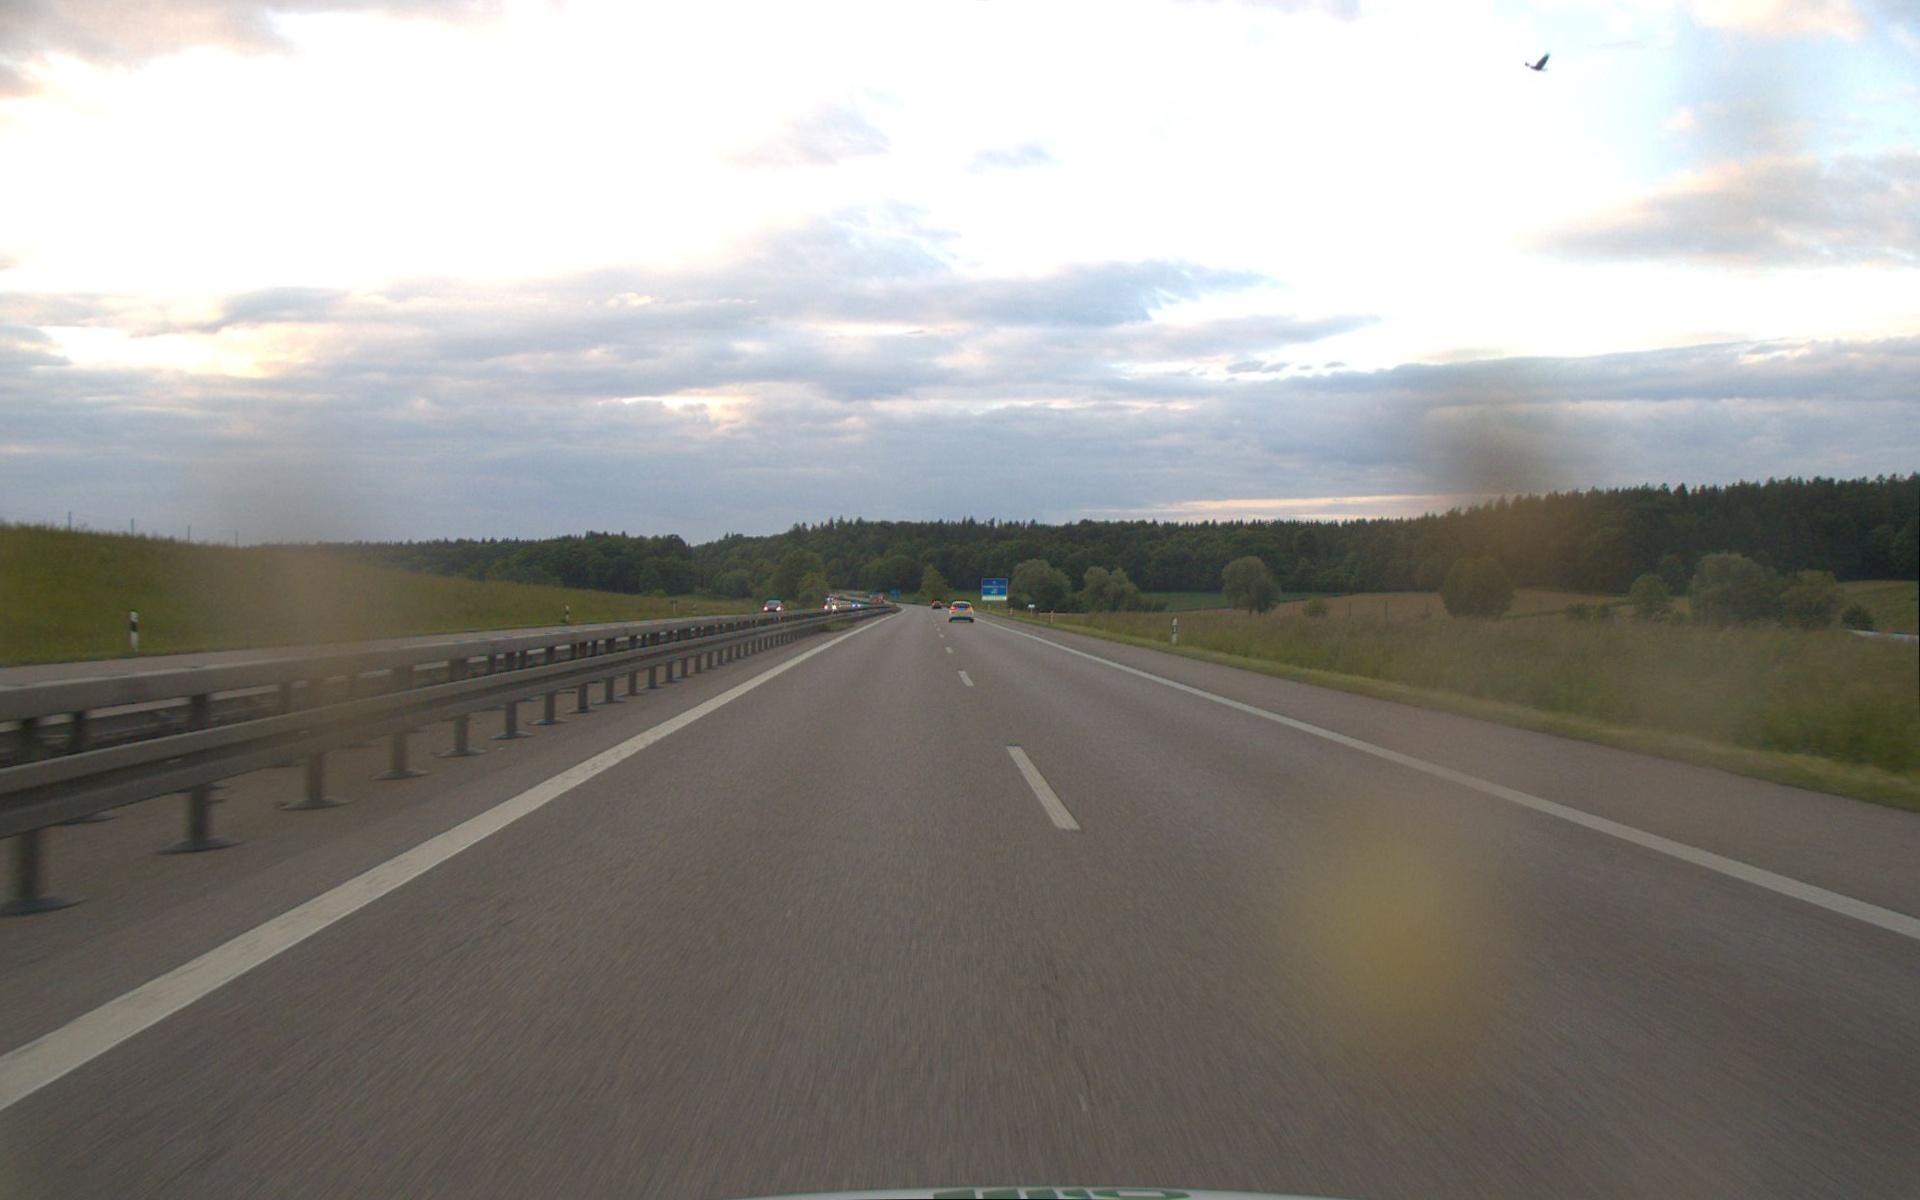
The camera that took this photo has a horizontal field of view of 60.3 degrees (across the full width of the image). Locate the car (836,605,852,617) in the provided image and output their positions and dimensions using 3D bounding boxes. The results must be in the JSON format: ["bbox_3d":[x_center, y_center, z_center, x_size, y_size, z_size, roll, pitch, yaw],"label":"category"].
[{"bbox_3d":[-15.159,1.382,216.897,1.703,1.482,5.120,2,0,0],"label":"car"}]

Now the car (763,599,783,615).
[{"bbox_3d":[-17.704,0.627,156.734,1.497,1.458,4.433,2,0,-2],"label":"car"}]

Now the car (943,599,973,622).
[{"bbox_3d":[-0.140,0.761,119.033,1.913,1.558,4.077,2,0,-3],"label":"car"}]
